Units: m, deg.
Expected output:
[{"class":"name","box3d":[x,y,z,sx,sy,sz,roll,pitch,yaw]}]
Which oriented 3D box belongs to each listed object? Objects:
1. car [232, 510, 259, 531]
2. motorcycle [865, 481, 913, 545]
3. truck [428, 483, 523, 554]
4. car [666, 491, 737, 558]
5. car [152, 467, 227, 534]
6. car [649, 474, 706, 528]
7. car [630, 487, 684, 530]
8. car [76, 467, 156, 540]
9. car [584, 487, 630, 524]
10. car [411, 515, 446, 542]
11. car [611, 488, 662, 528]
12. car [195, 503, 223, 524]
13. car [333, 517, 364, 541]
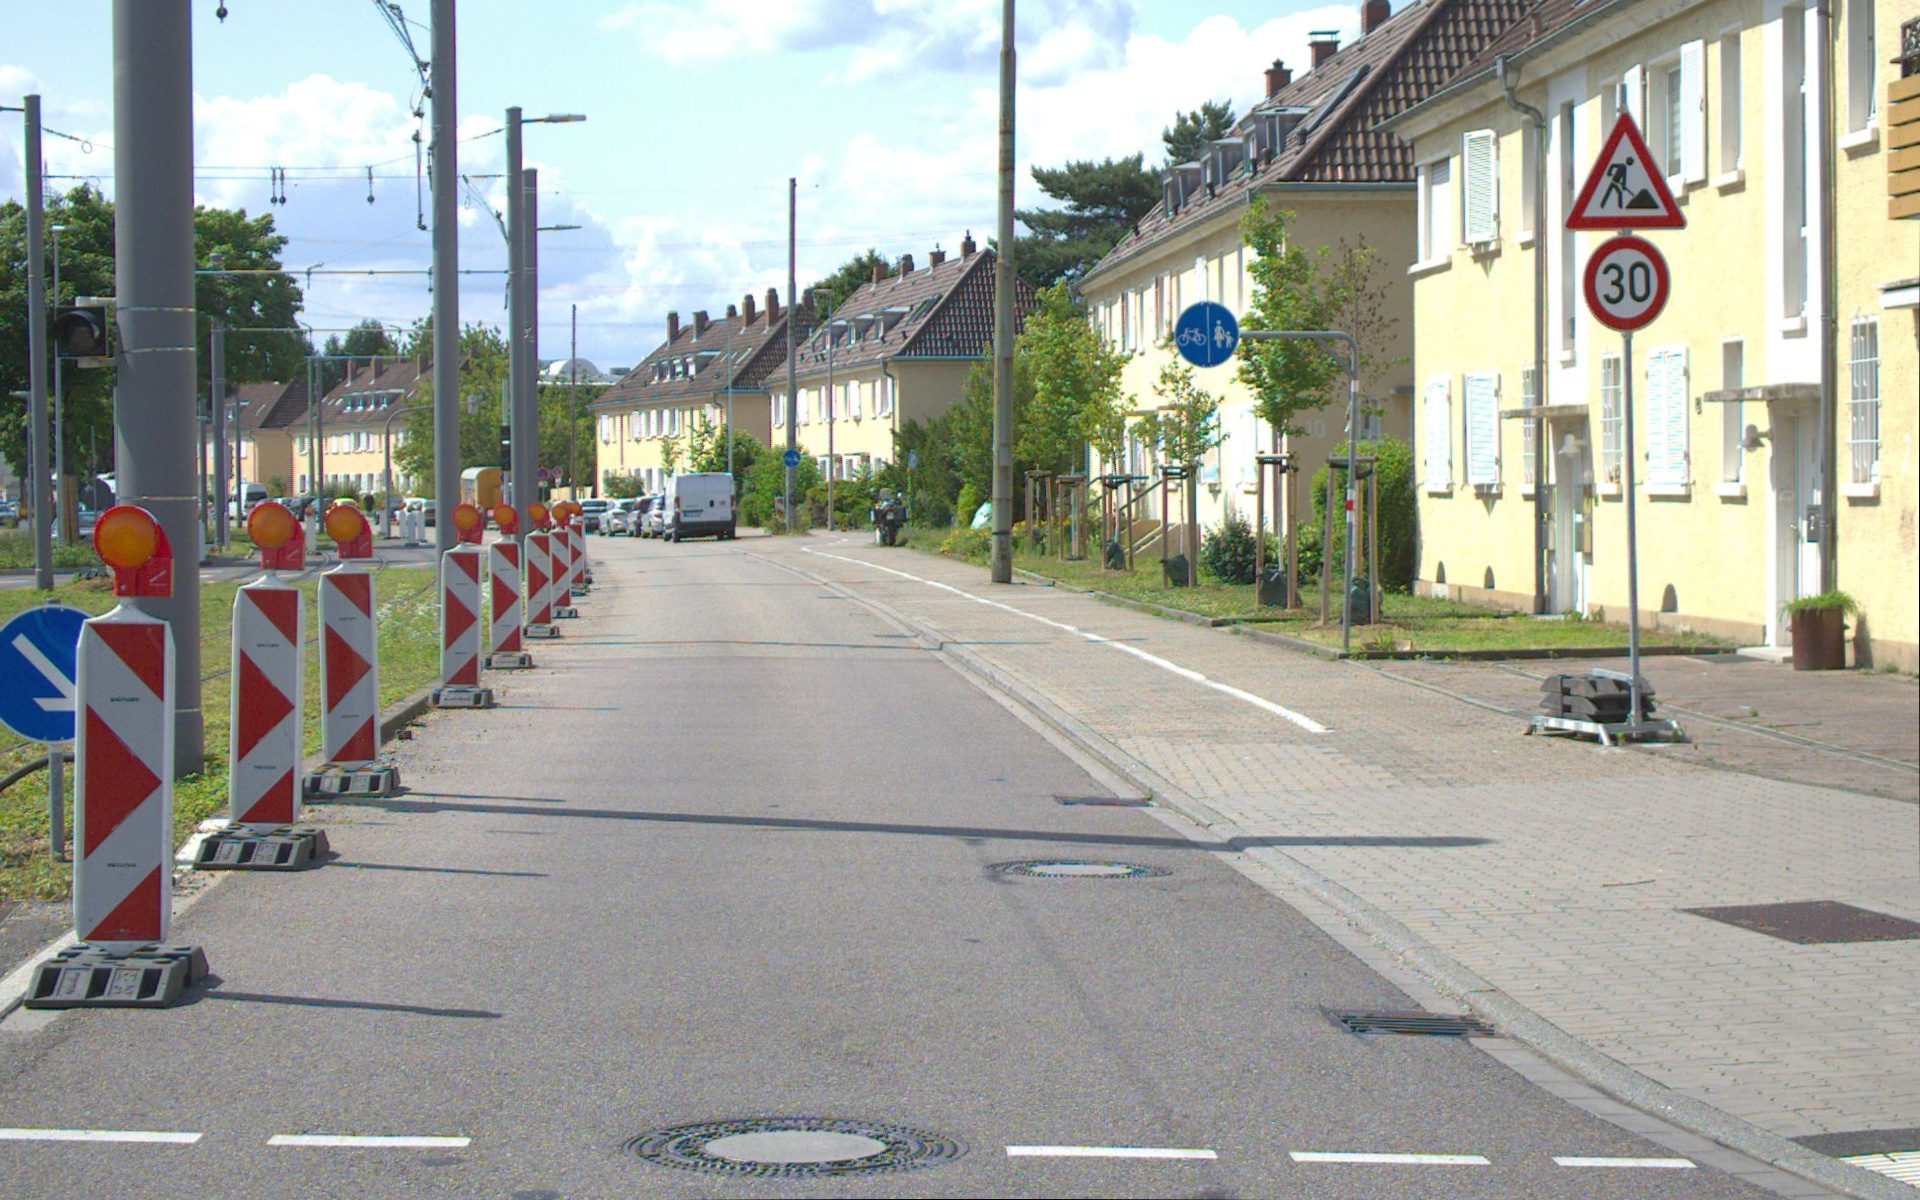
[{"class":"car","box3d":[-47.859,-5.310,230.285,1.165,1.421,2.666,-1,2,-26]},{"class":"motorcycle","box3d":[-1.831,-2.233,88.437,1.066,1.630,2.084,-1,1,-6]},{"class":"truck","box3d":[-24.717,-4.150,174.998,2.640,3.482,9.440,-1,2,-21]},{"class":"car","box3d":[-8.590,-2.508,114.002,2.065,2.141,4.880,-1,1,-8]},{"class":"car","box3d":[-28.086,-3.646,125.231,2.406,2.362,4.881,-1,2,-15]},{"class":"car","box3d":[-10.183,-3.545,123.631,1.567,1.891,3.790,-1,1,-11]},{"class":"car","box3d":[-11.369,-3.437,128.777,1.567,1.546,3.791,-1,2,-11]},{"class":"car","box3d":[-27.767,-3.173,113.045,2.406,2.330,4.881,-1,1,-15]},{"class":"car","box3d":[-14.992,-4.032,146.003,1.567,1.546,3.480,-1,2,-11]},{"class":"car","box3d":[-28.886,-3.901,186.810,1.257,1.421,2.666,-1,2,-21]},{"class":"car","box3d":[-12.659,-3.591,134.278,1.567,1.546,3.791,-1,1,-11]},{"class":"car","box3d":[-52.503,-6.067,240.299,1.257,1.421,2.666,-1,2,-26]},{"class":"car","box3d":[-36.881,-4.292,207.301,1.257,1.421,2.666,-1,2,-23]}]
